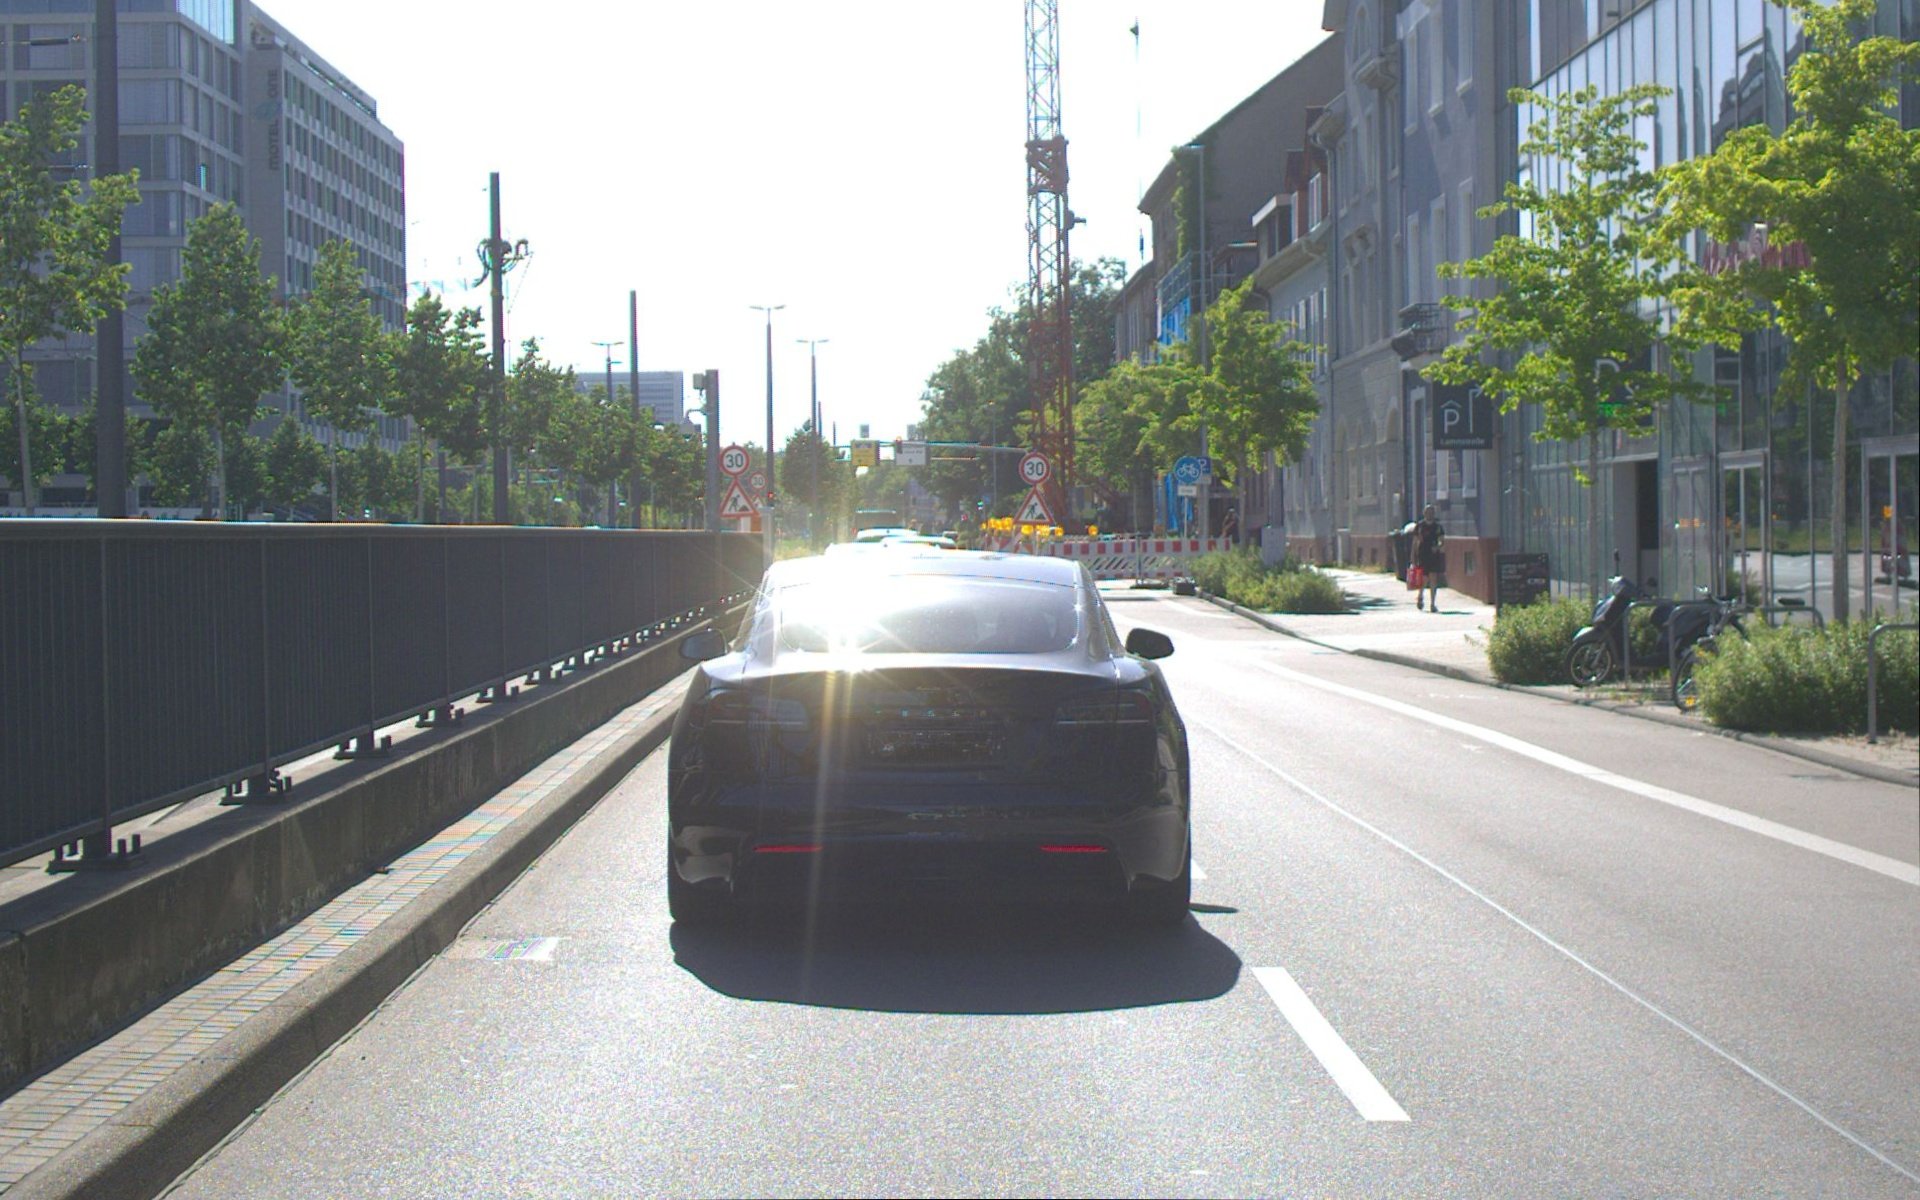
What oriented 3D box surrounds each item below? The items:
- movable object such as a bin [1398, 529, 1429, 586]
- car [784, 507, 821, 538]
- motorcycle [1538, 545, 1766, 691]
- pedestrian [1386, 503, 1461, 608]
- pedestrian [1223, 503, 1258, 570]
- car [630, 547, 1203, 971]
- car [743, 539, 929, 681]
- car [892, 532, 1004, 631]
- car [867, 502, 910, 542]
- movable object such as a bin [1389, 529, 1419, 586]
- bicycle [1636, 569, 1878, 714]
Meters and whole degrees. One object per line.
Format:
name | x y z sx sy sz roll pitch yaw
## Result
movable object such as a bin | 9.311 -0.868 70.605 0.559 1.165 0.562 1 1 3
car | -8.883 -4.396 194.669 1.993 1.678 4.000 1 1 -2
motorcycle | 6.897 0.183 34.290 2.075 1.349 0.652 -3 1 23
pedestrian | 8.352 -0.808 61.993 1.095 1.857 1.523 -1 1 -2
pedestrian | 7.803 -1.775 95.737 0.851 1.857 0.930 -1 1 -2
car | -0.048 0.520 14.205 1.999 1.429 4.412 0 1 3
car | -1.205 0.058 34.947 1.716 1.315 4.000 0 2 0
car | -0.174 -0.342 56.958 1.784 1.540 4.039 0 2 1
car | -3.285 -3.584 158.272 1.814 1.803 4.039 0 2 1
movable object such as a bin | 9.219 -0.882 71.453 0.559 1.165 0.562 1 1 3
bicycle | 6.867 0.349 29.651 1.881 1.147 0.672 -2 1 -10
